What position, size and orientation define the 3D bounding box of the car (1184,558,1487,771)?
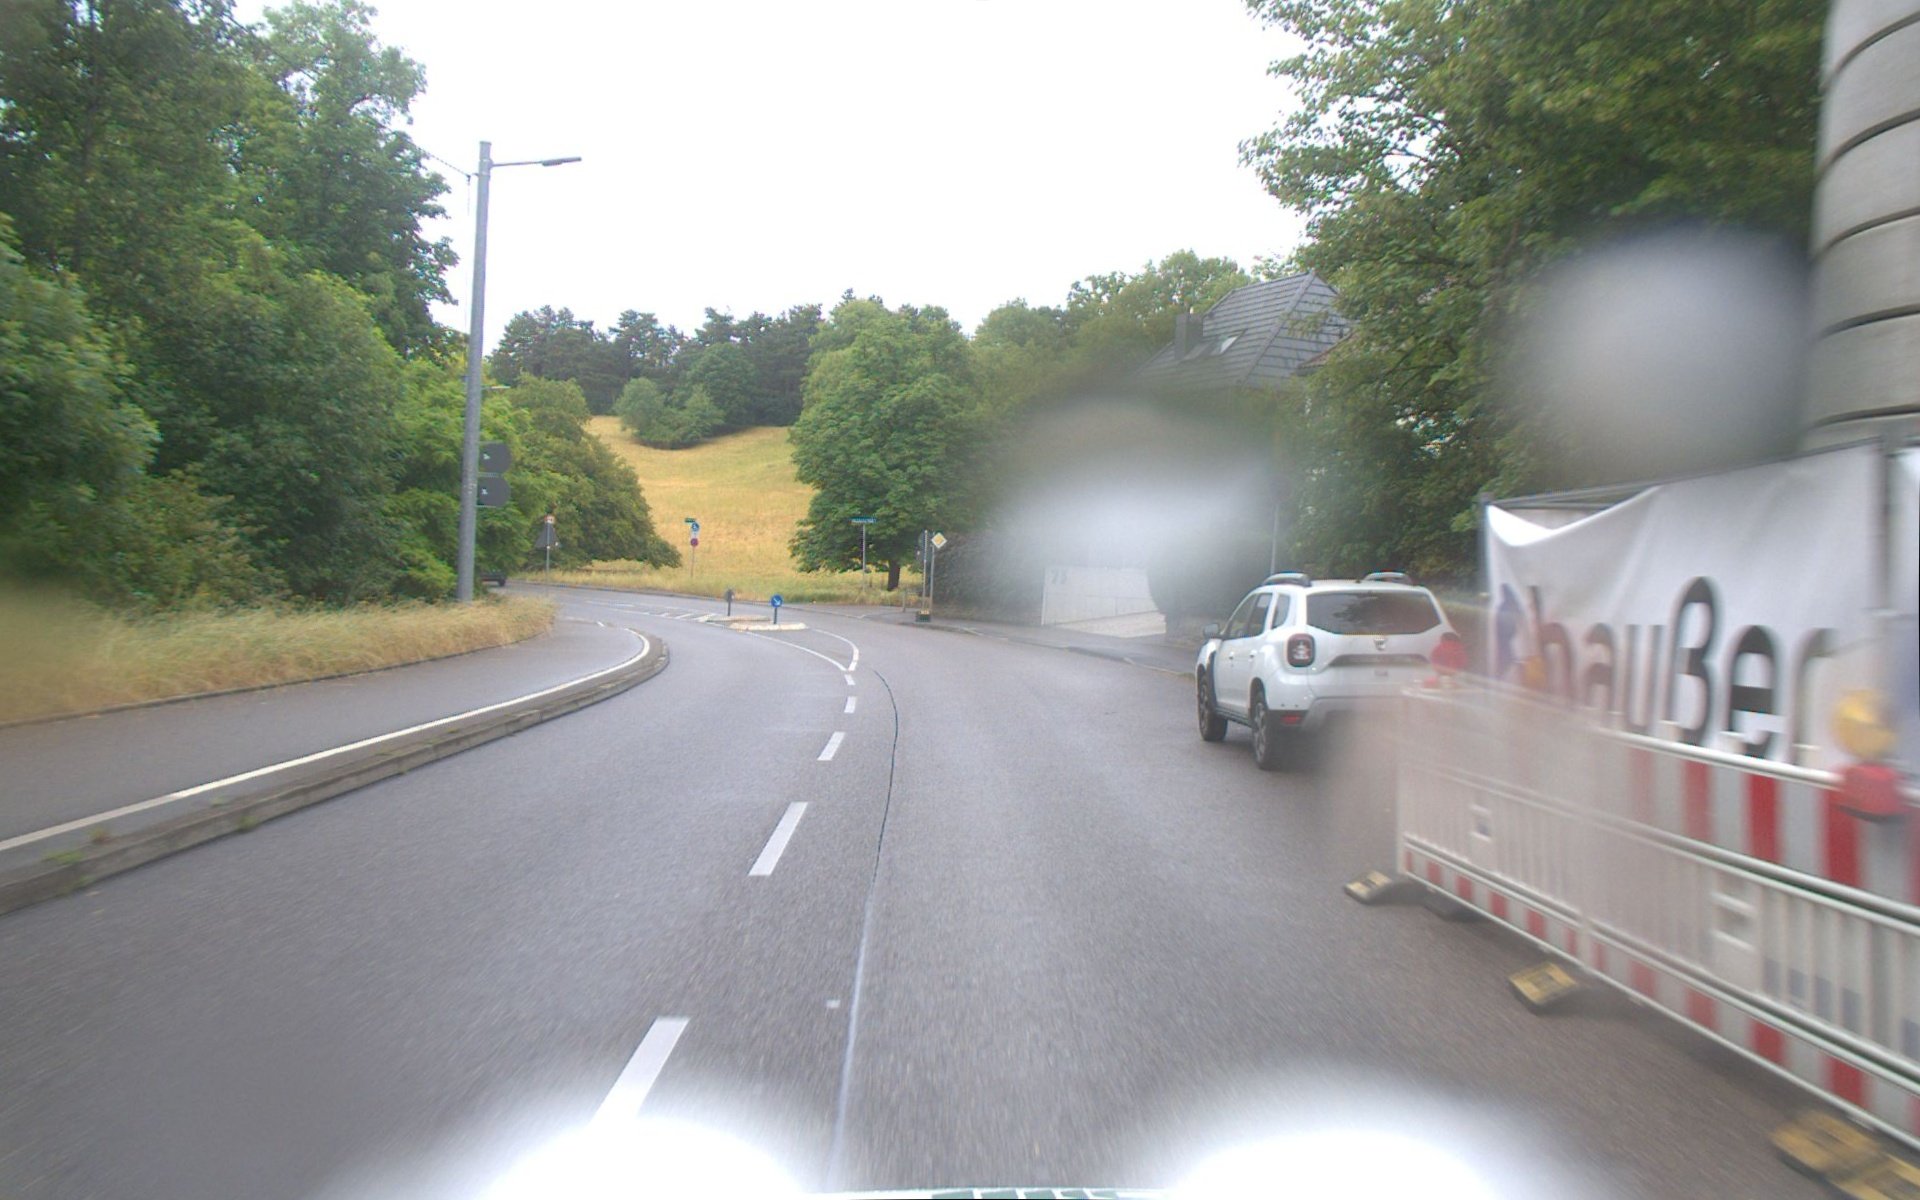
[{"bbox_3d":[3.394,0.509,15.842,1.710,1.735,4.500,1,0,-2],"label":"car"}]
